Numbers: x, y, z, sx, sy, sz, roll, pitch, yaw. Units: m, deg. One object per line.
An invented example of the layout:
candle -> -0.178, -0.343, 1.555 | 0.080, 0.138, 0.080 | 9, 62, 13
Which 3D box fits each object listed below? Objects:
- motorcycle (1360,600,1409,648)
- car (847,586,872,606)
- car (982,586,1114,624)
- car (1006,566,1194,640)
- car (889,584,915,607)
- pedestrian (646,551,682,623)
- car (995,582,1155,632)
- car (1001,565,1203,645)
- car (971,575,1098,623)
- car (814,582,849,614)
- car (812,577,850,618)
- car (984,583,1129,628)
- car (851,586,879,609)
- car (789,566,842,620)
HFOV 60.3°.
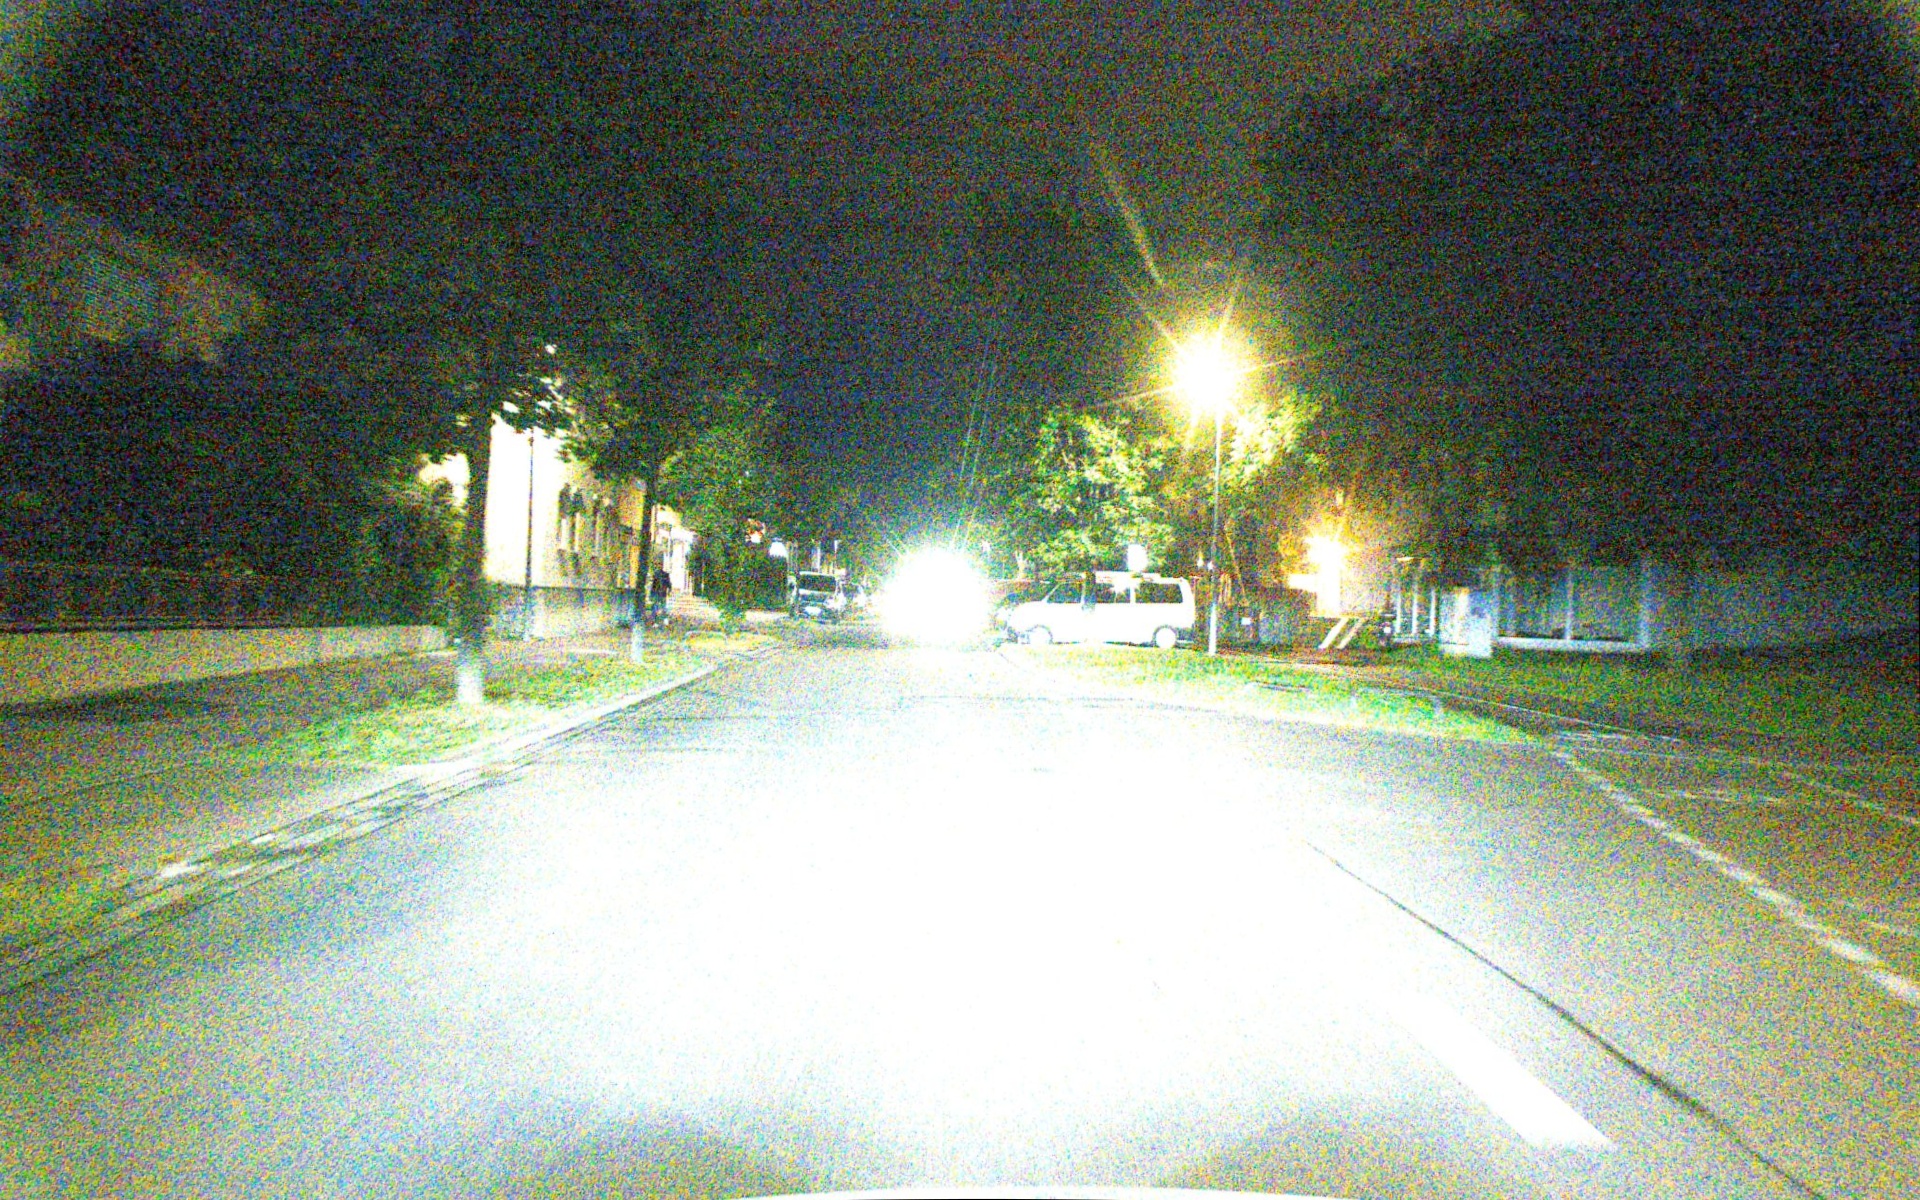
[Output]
motorcycle -> 12.756, 0.694, 49.665 | 1.048, 1.350, 2.706 | 2, 1, 22
car -> -6.979, -0.306, 115.577 | 1.649, 1.354, 3.598 | 1, 0, -2
car -> 3.448, 0.178, 65.531 | 5.078, 1.495, 2.101 | 0, 0, -3
car -> 3.892, 0.074, 46.552 | 5.078, 2.049, 2.101 | 0, 0, -3
car -> -4.341, -0.345, 123.646 | 1.888, 1.677, 3.819 | 0, 1, -2
pedestrian -> -8.731, -0.377, 48.795 | 0.769, 2.048, 1.204 | 3, 0, -1
car -> 3.752, 0.217, 54.530 | 5.078, 1.622, 2.101 | 0, 0, -3
car -> 3.685, 0.128, 43.483 | 5.078, 2.049, 2.101 | 0, 0, -3
car -> 3.100, -0.061, 68.170 | 5.072, 1.920, 2.103 | 0, 0, 8
car -> -6.111, -0.121, 78.942 | 1.503, 1.476, 3.118 | 1, 0, -2
car -> -5.752, -0.126, 73.922 | 1.503, 1.717, 3.211 | 3, 0, -2
car -> 3.474, 0.180, 60.016 | 5.078, 1.622, 2.101 | 0, 0, -3
car -> -5.751, -0.174, 100.308 | 1.649, 1.354, 3.598 | 1, 0, -2
car -> -5.811, -0.283, 66.879 | 1.788, 2.021, 4.463 | 3, 0, -2
